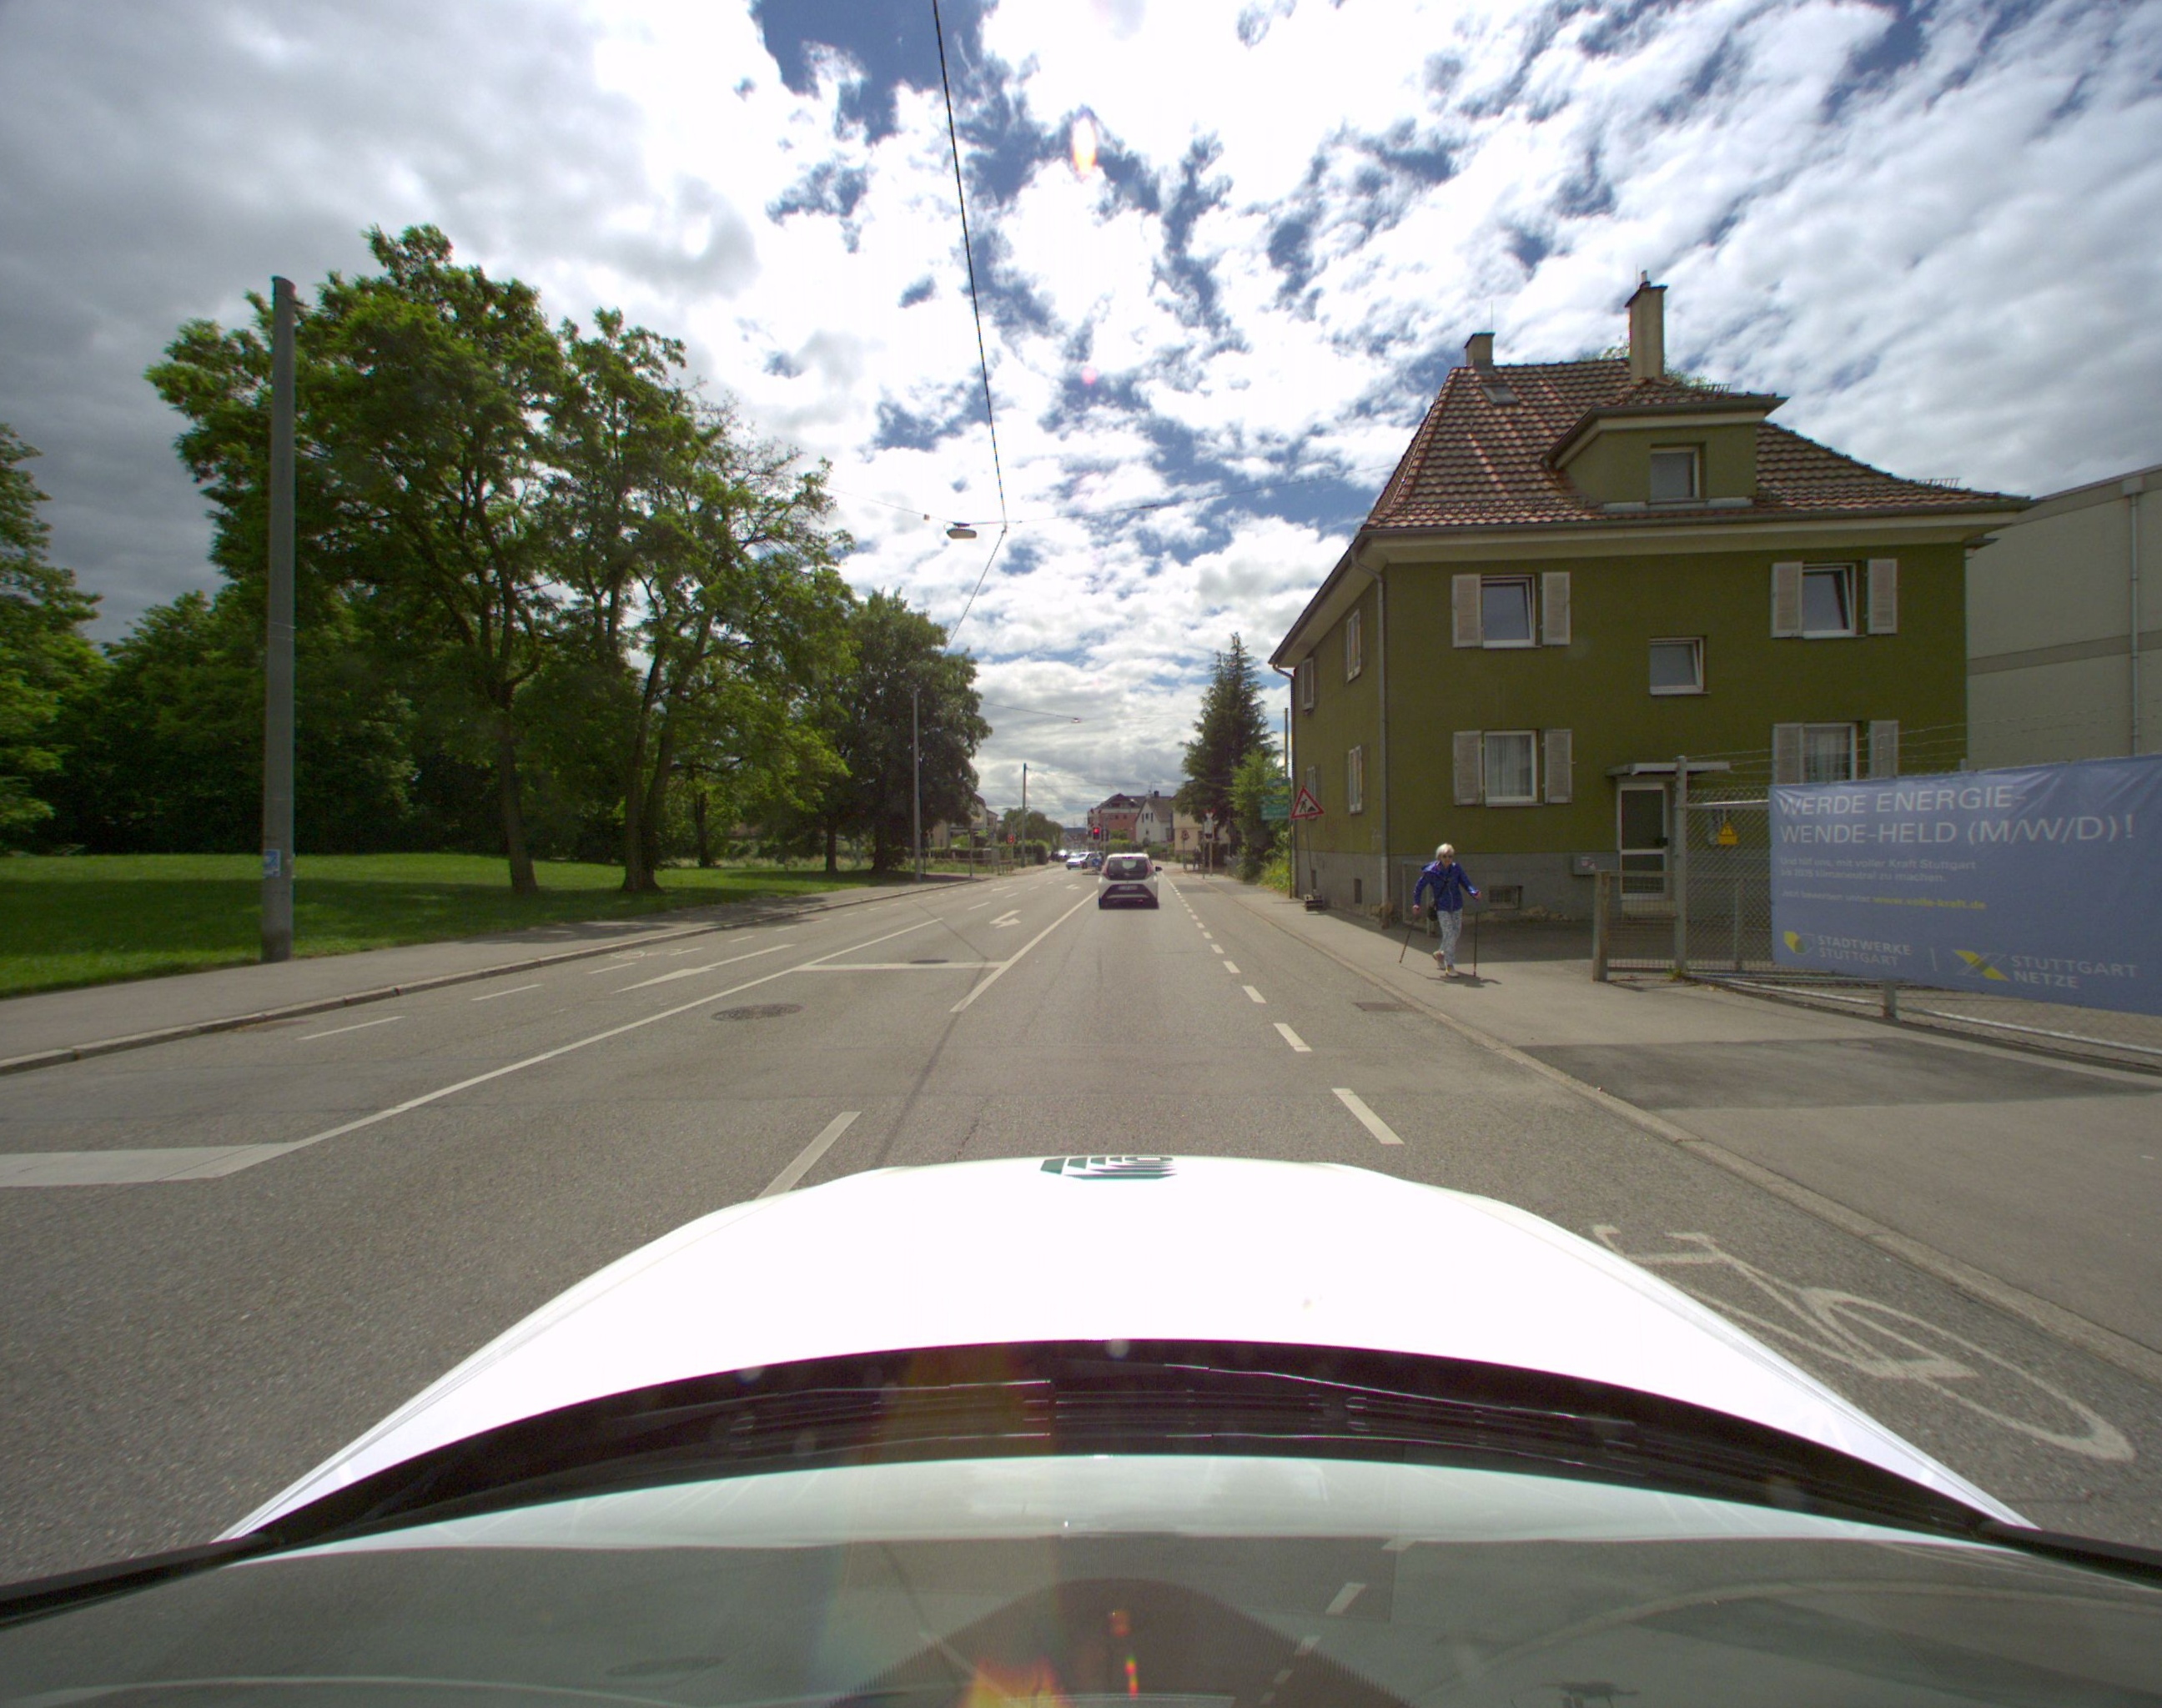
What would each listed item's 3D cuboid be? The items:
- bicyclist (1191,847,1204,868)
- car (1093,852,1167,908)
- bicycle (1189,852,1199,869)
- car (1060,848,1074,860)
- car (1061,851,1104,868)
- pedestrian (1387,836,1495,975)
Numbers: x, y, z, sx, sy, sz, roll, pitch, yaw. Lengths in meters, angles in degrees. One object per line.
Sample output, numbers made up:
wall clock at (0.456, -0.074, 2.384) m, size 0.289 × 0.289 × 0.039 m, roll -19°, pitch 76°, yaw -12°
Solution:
bicyclist at (9.042, 0.273, 63.309) m, size 0.838 × 1.553 × 0.756 m, roll -4°, pitch 2°, yaw -1°
car at (1.475, 0.674, 23.160) m, size 1.711 × 1.442 × 3.718 m, roll 0°, pitch 0°, yaw 9°
bicycle at (8.787, 0.487, 63.402) m, size 0.456 × 1.172 × 1.479 m, roll -4°, pitch 2°, yaw -1°
car at (-2.158, -0.042, 123.519) m, size 1.988 × 1.719 × 3.997 m, roll 0°, pitch 0°, yaw -2°
car at (0.156, 0.496, 72.236) m, size 1.886 × 1.441 × 4.124 m, roll 0°, pitch 0°, yaw 33°
pedestrian at (4.341, 0.597, 9.904) m, size 0.821 × 1.572 × 0.987 m, roll -2°, pitch 0°, yaw -1°
